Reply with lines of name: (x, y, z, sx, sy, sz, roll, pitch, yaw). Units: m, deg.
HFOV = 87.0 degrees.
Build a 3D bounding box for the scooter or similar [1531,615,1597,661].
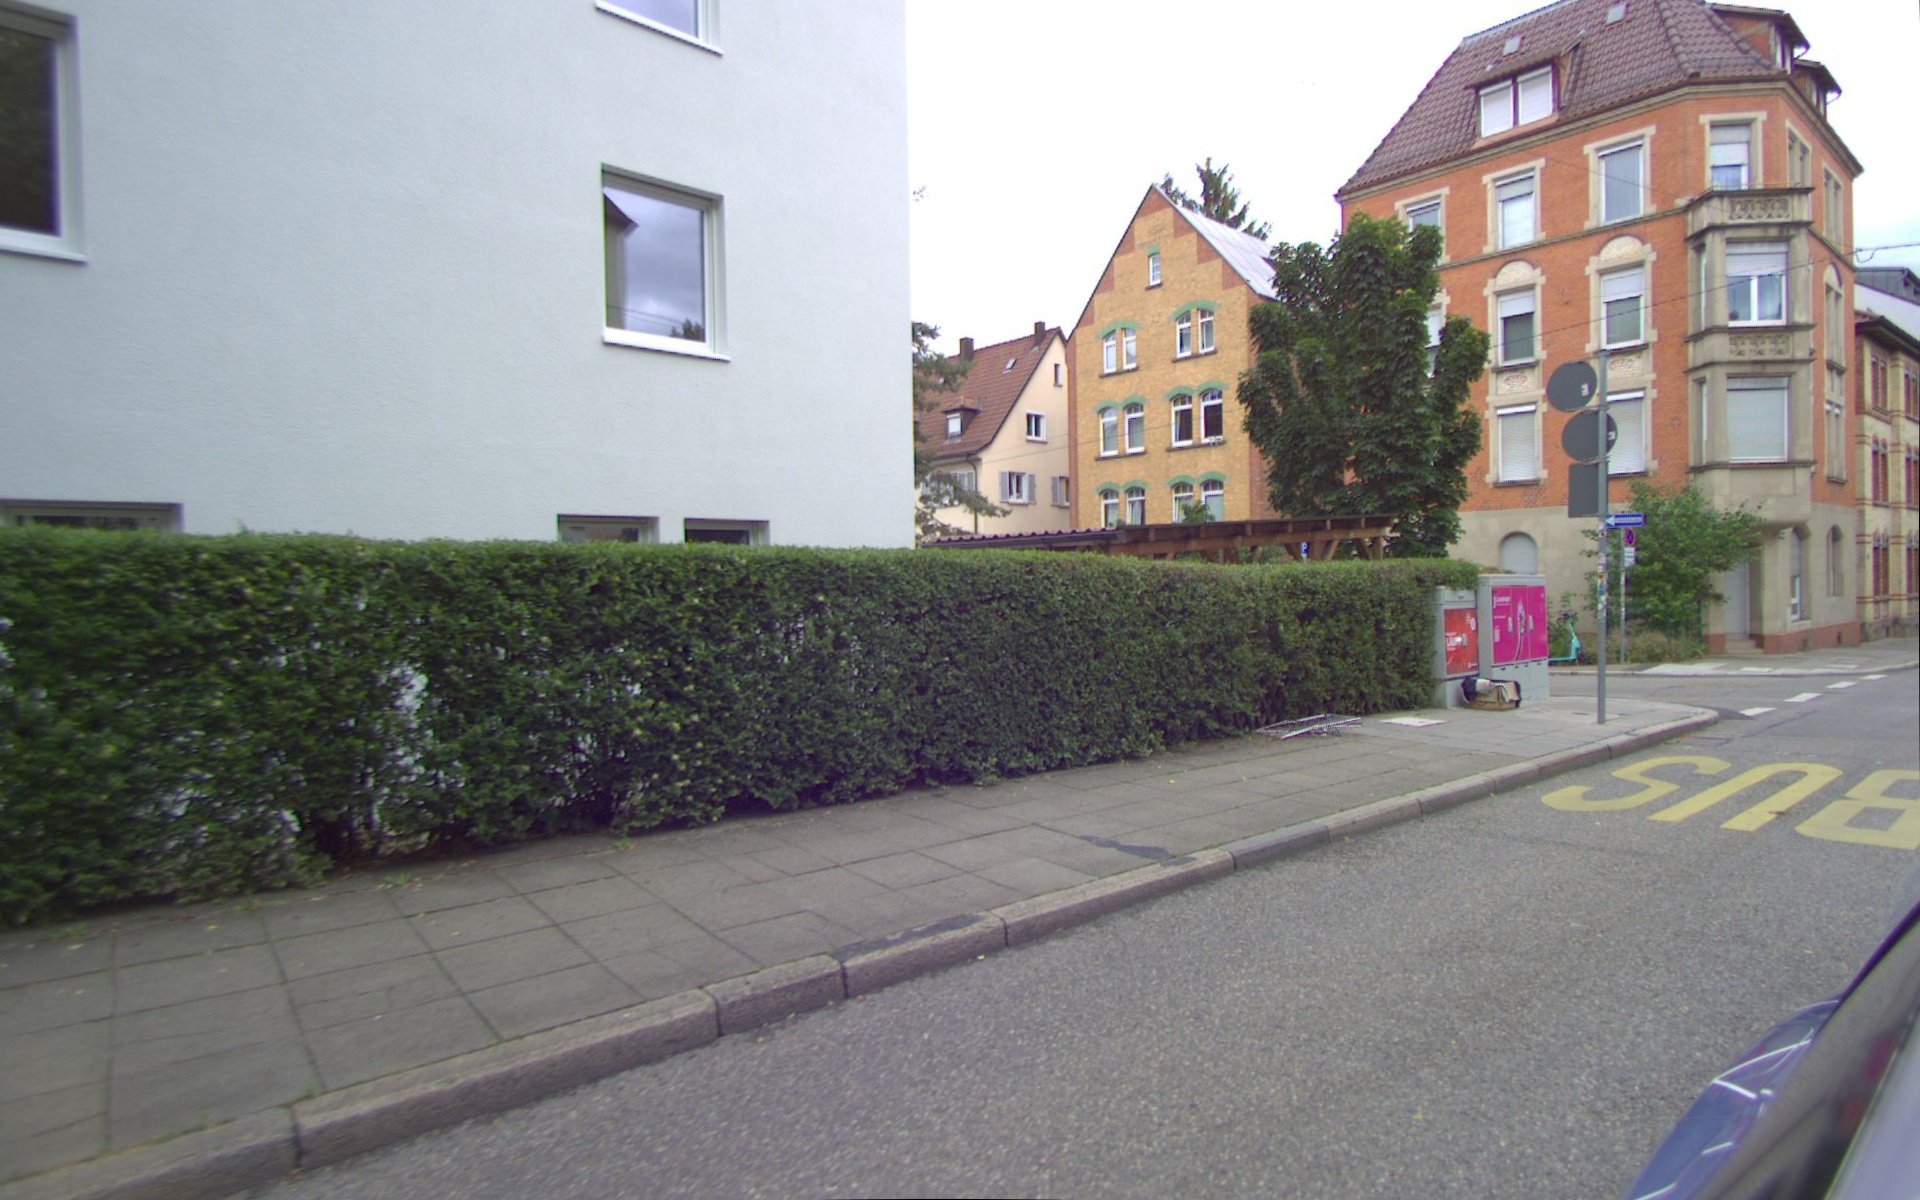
scooter or similar: (14.154, 0.885, 23.721, 0.408, 1.029, 1.236, 0, -1, -40)
